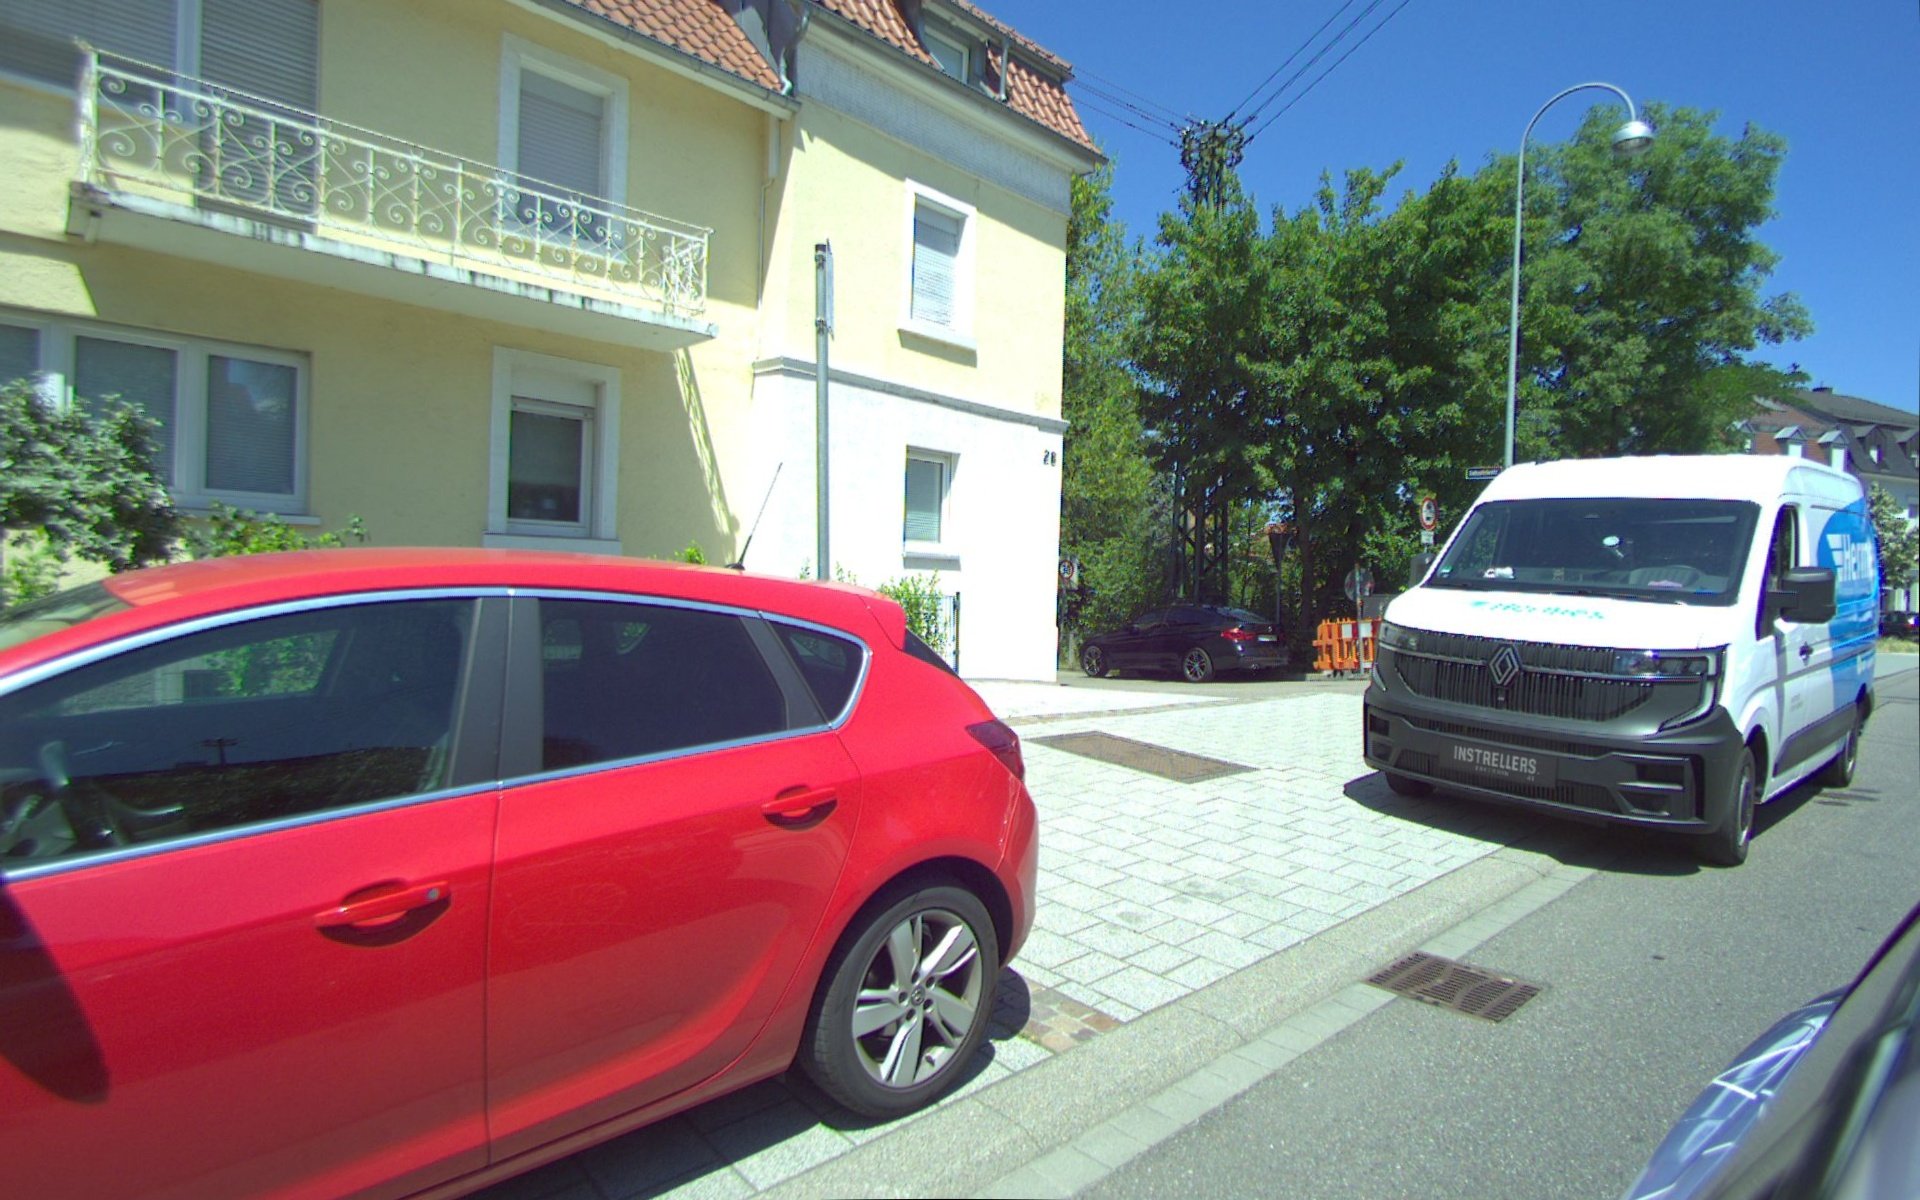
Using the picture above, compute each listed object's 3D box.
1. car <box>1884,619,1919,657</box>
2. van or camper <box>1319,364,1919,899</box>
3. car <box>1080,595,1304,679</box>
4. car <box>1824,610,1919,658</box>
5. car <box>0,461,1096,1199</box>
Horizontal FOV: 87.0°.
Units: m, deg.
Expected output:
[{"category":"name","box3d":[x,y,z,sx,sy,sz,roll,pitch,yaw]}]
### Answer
[{"category":"car","box3d":[44.469,1.745,45.398,1.958,1.691,4.007,2,-1,-14]},{"category":"van or camper","box3d":[5.255,0.059,7.528,6.070,2.497,2.113,-1,4,-41]},{"category":"car","box3d":[4.446,0.729,20.048,1.613,1.486,4.404,1,-2,-34]},{"category":"car","box3d":[41.333,1.479,45.009,1.958,2.039,4.007,0,-1,-15]},{"category":"car","box3d":[-1.702,0.541,2.425,4.079,1.549,1.806,0,2,-42]}]
